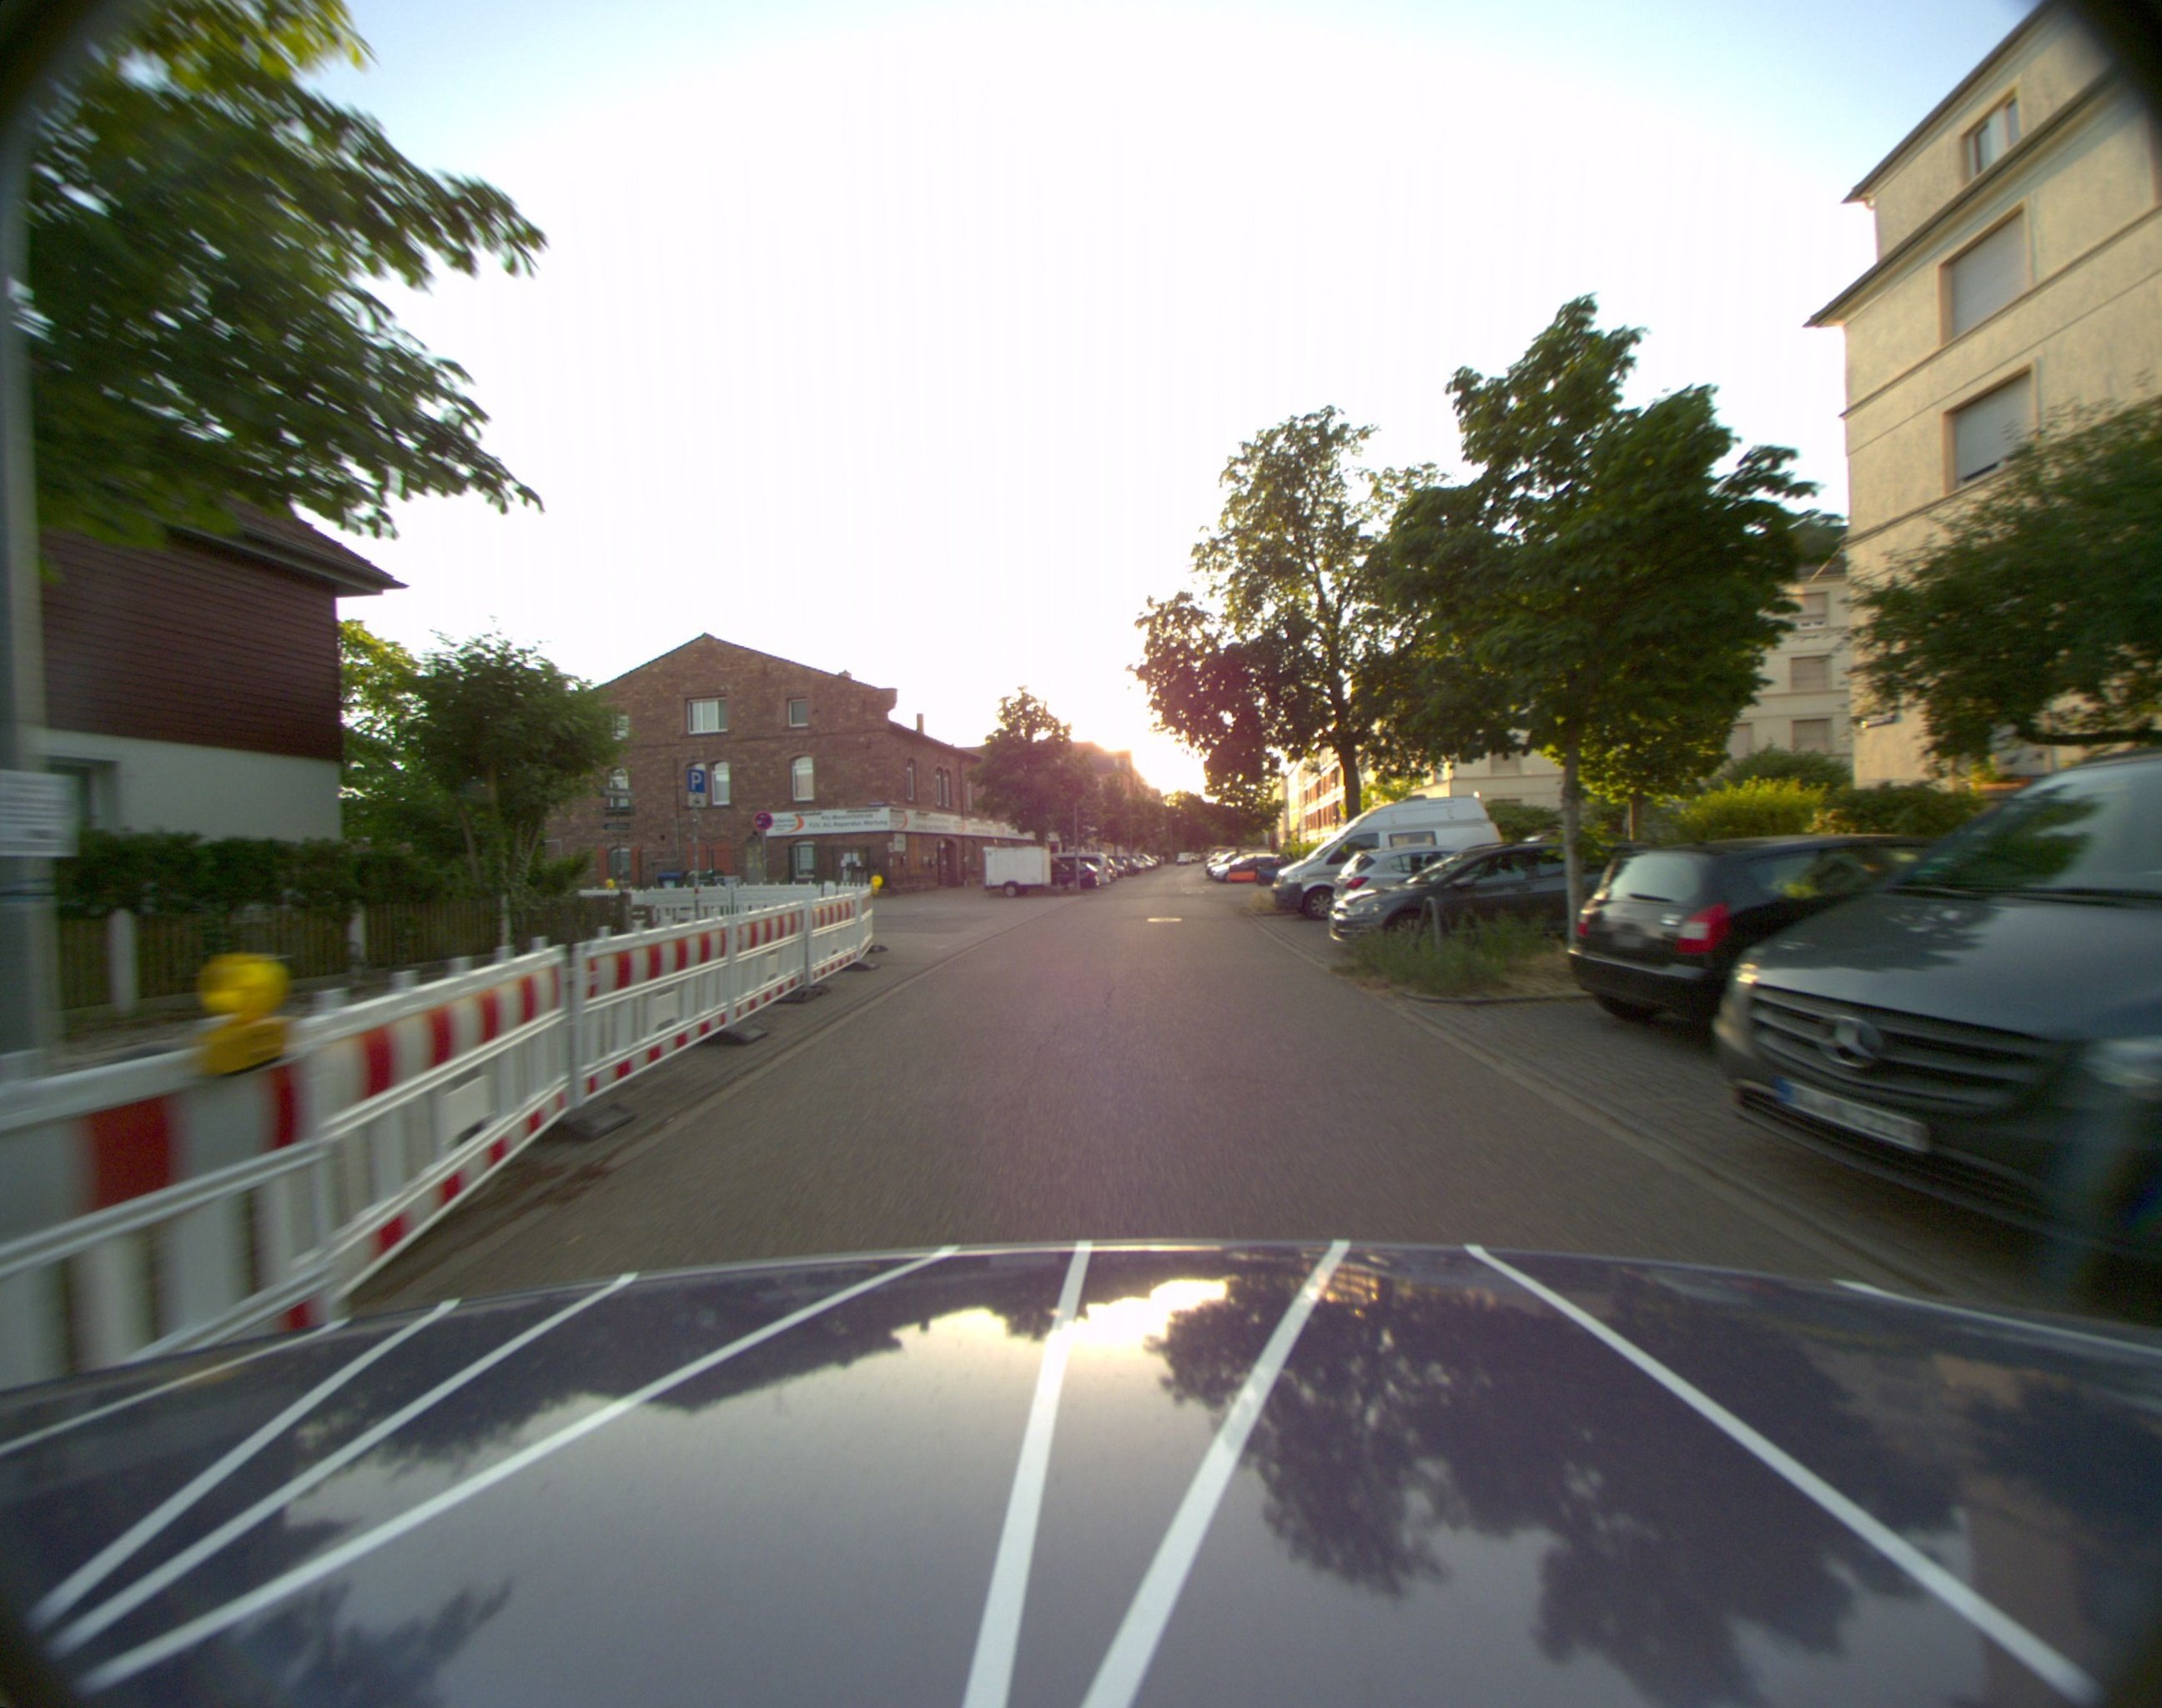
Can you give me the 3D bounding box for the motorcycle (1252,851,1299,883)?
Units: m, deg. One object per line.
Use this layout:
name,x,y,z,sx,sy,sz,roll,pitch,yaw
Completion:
motorcycle,9.981,0.666,39.037,2.235,1.573,0.774,-3,0,11

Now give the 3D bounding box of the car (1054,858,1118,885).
car,0.357,1.117,49.591,3.954,1.556,1.821,-3,0,6

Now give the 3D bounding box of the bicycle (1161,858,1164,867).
bicycle,10.818,1.098,100.812,0.357,1.093,1.973,-2,0,9

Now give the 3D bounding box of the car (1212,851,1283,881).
car,9.913,0.710,45.383,3.994,1.574,1.730,-3,0,10

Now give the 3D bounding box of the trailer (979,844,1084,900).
trailer,-2.059,0.763,32.381,3.994,2.175,2.001,-3,0,10

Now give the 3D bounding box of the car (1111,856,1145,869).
car,5.385,0.965,86.591,3.792,1.488,1.682,0,0,8

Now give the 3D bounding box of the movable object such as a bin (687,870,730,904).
movable object such as a bin,-16.814,1.481,34.286,1.262,1.435,1.098,-2,0,11

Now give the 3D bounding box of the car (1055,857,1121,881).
car,0.526,1.064,54.250,4.422,1.565,1.983,1,0,7

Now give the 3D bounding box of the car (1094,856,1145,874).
car,3.774,1.087,74.377,4.702,1.622,2.002,1,0,11

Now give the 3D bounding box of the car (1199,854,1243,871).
car,13.962,0.867,76.098,4.147,1.408,1.739,-4,0,5

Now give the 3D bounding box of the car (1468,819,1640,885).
car,16.274,-0.042,26.364,4.586,2.002,2.001,-3,0,7

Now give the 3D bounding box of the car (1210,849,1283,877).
car,10.395,0.547,48.069,4.334,1.397,1.853,-4,0,10

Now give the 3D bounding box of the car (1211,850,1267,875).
car,11.962,0.644,57.760,3.995,1.475,1.757,-6,-1,8

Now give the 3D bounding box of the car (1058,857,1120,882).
car,0.581,1.062,51.596,3.994,1.609,1.896,0,0,7

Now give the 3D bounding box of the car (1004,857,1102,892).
car,-1.336,0.985,36.746,4.435,1.490,1.774,-3,0,8

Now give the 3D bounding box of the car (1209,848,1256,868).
car,16.102,0.392,80.820,4.862,2.043,2.002,-1,0,13

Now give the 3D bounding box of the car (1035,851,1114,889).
car,-0.325,0.862,41.489,3.995,1.892,2.001,-3,0,7

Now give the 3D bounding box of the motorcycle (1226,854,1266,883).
motorcycle,8.962,0.781,41.233,1.990,1.428,0.722,-3,0,4

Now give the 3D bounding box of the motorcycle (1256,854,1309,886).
motorcycle,9.757,0.750,36.814,2.387,1.428,0.882,-3,0,11

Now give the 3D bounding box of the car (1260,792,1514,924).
car,6.566,0.104,16.804,4.742,2.554,2.001,-3,0,5

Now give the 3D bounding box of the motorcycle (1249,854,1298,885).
motorcycle,9.573,0.761,37.858,2.235,1.428,0.774,-3,0,11

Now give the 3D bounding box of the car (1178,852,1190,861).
car,16.525,0.451,121.687,1.731,1.367,3.765,-3,0,9

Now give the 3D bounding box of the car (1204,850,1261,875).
car,11.997,0.670,60.276,4.251,1.611,1.814,-4,-1,9

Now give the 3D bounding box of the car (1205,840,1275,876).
car,11.031,0.324,52.874,4.520,2.057,2.002,-5,-2,12

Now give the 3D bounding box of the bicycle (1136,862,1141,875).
bicycle,5.386,1.355,71.008,0.309,1.185,1.763,-2,0,8

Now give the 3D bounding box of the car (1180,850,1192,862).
car,17.591,0.316,127.350,1.938,1.893,4.058,-3,0,9

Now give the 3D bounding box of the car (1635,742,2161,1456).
car,5.142,0.544,2.787,4.685,1.862,2.000,-3,0,1

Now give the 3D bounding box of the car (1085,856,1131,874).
car,2.530,1.013,69.726,3.994,1.537,1.846,1,1,9

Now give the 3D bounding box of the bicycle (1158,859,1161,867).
bicycle,10.413,1.160,100.869,0.357,1.018,1.973,-2,0,9

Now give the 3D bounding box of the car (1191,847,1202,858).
car,22.357,-0.335,147.384,1.997,2.002,4.003,-3,0,9

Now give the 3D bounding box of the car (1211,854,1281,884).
car,9.259,0.825,42.898,3.720,1.497,1.691,-3,0,9

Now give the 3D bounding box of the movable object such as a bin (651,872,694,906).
movable object such as a bin,-18.609,1.576,34.612,1.288,1.435,1.060,-2,0,11

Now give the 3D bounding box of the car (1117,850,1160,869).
car,7.184,0.667,94.521,4.968,2.089,2.153,-3,1,14

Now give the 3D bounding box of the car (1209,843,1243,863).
car,20.187,-0.107,105.840,4.409,2.541,1.933,-3,0,11

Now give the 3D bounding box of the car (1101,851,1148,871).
car,4.579,0.703,79.275,4.594,1.851,2.013,2,1,11

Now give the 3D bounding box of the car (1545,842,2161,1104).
car,5.754,0.730,5.438,3.778,1.430,1.656,-3,0,2

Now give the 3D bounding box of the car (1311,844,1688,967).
car,5.602,0.681,10.651,4.252,1.386,1.685,-3,0,7

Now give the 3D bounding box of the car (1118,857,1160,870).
car,6.764,1.062,88.880,4.730,1.487,2.001,0,0,9

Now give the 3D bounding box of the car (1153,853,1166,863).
car,12.743,0.563,122.727,1.799,1.515,4.003,-3,0,9

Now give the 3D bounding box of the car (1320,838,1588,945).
car,6.389,0.625,13.371,3.812,1.513,1.653,-4,0,5

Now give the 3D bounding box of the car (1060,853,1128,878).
car,1.011,0.863,56.825,4.795,1.743,2.019,1,0,8

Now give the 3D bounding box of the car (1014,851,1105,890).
car,-1.070,0.815,38.958,4.309,1.788,1.905,-3,0,8
